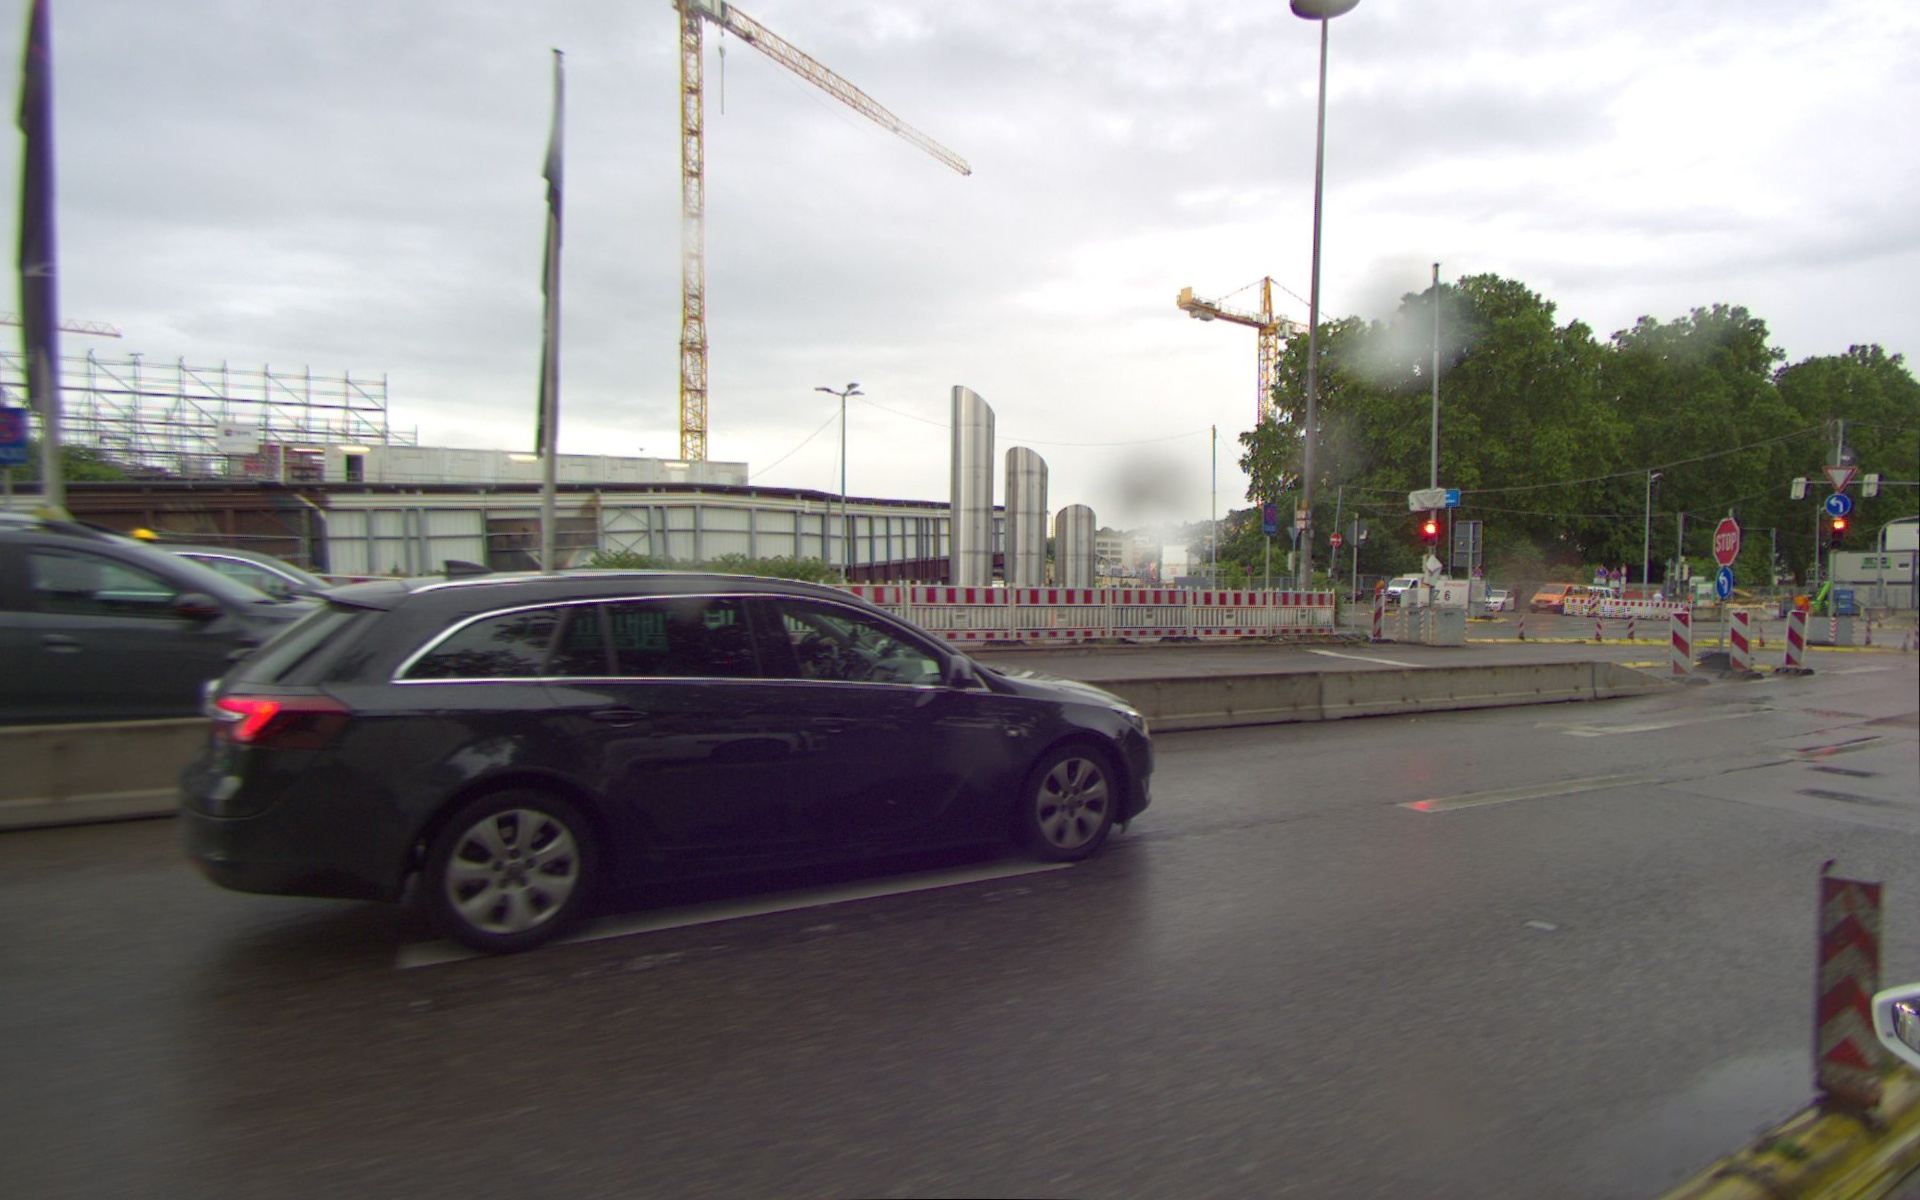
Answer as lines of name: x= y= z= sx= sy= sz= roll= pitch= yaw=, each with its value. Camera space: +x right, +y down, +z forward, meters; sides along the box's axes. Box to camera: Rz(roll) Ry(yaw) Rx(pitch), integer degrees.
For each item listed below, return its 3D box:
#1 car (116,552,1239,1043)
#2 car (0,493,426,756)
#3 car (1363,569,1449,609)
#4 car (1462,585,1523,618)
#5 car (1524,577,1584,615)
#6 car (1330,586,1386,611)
car: x=-0.995 y=0.581 z=5.138 sx=4.795 sy=1.528 sz=1.868 roll=0 pitch=2 yaw=-31
car: x=-6.058 y=0.144 z=6.857 sx=4.109 sy=1.550 sz=1.981 roll=0 pitch=0 yaw=-34
car: x=31.238 y=-0.724 z=70.331 sx=5.713 sy=2.738 sz=2.376 roll=0 pitch=0 yaw=-26
car: x=34.402 y=0.100 z=64.895 sx=3.959 sy=2.040 sz=1.904 roll=0 pitch=0 yaw=-35
car: x=38.158 y=-0.231 z=64.494 sx=4.476 sy=2.393 sz=1.901 roll=0 pitch=0 yaw=-39
car: x=29.139 y=-0.090 z=73.578 sx=3.950 sy=1.747 sz=1.679 roll=0 pitch=0 yaw=-29
